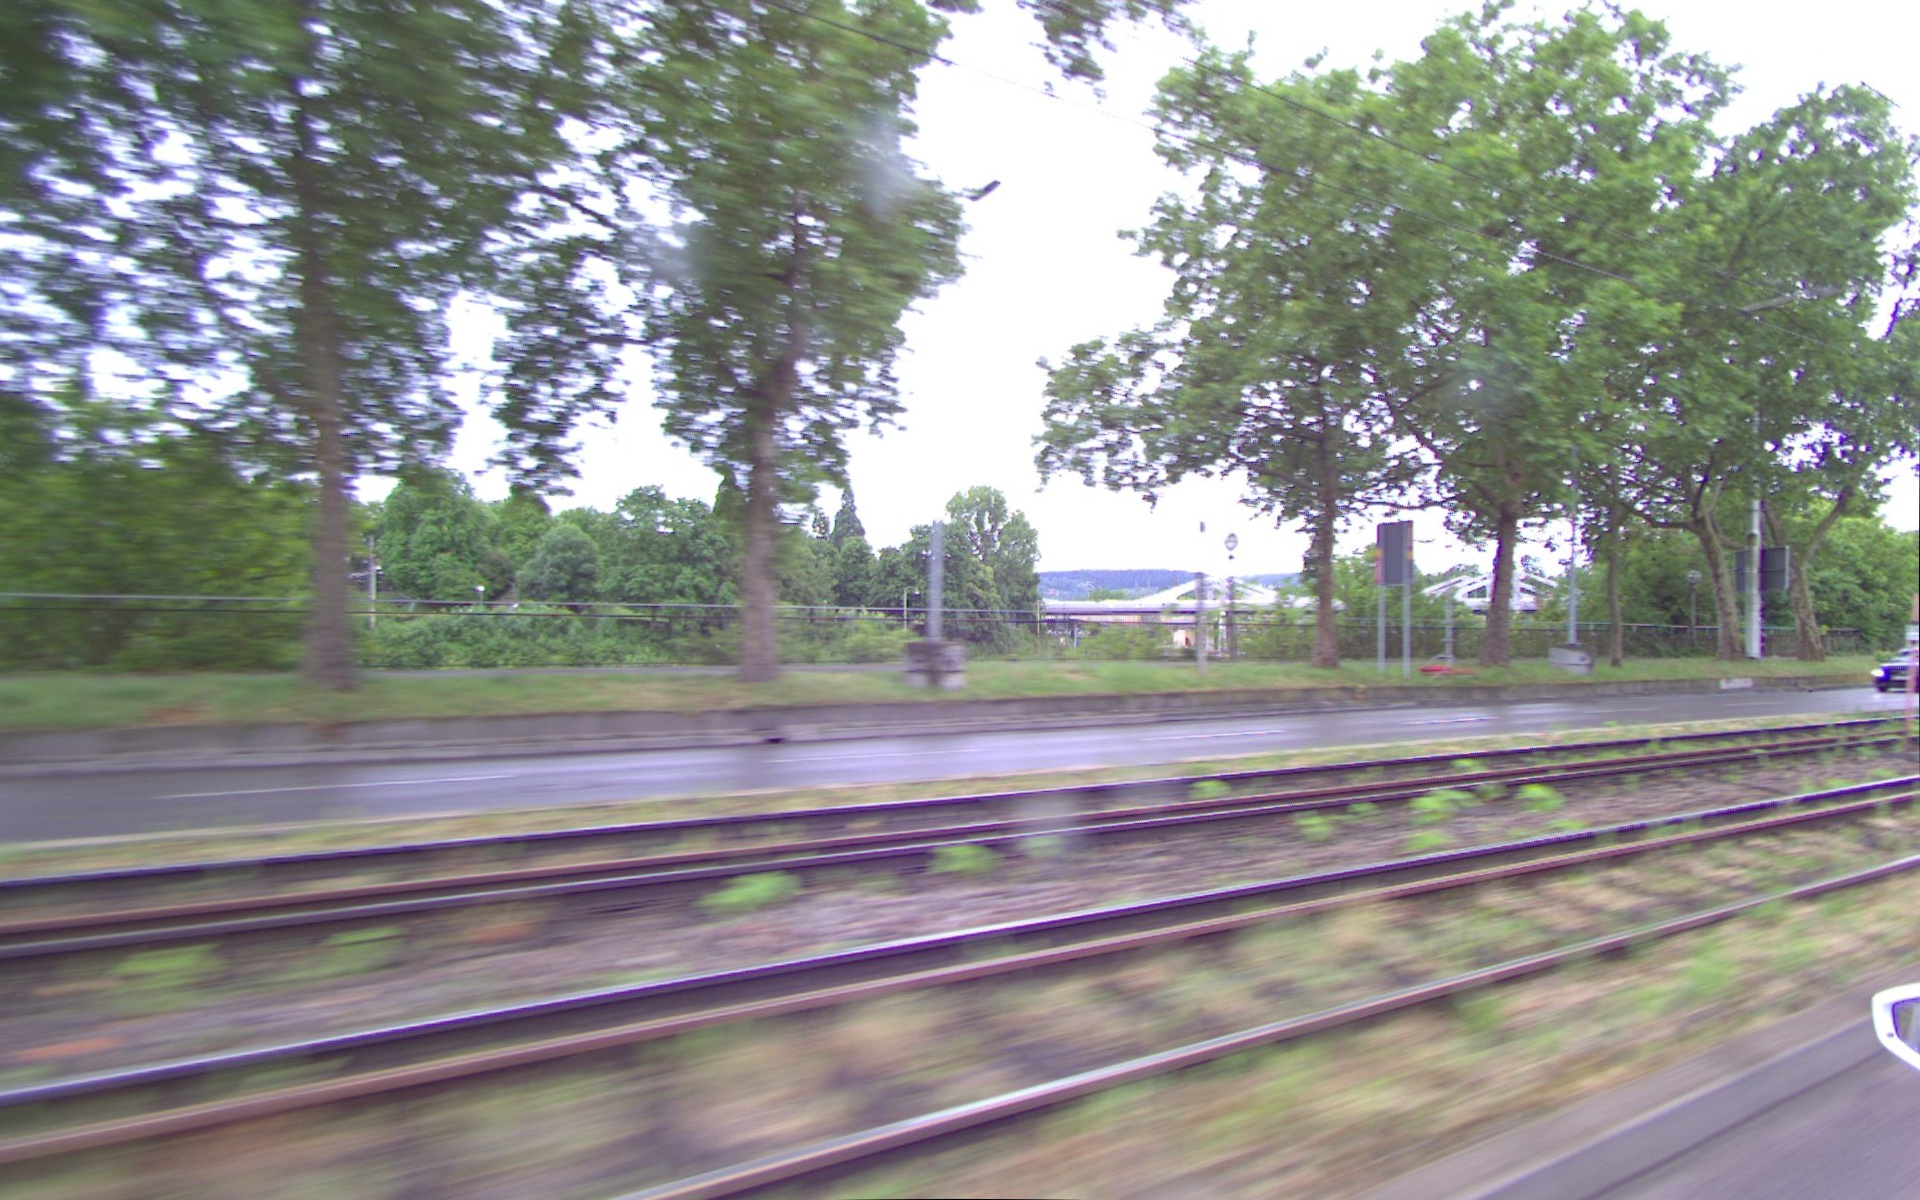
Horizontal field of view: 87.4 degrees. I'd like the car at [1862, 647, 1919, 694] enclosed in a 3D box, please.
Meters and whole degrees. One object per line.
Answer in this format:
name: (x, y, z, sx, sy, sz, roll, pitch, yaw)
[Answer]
car: (31.484, 2.275, 32.829, 4.508, 1.448, 1.738, 2, -3, -31)
